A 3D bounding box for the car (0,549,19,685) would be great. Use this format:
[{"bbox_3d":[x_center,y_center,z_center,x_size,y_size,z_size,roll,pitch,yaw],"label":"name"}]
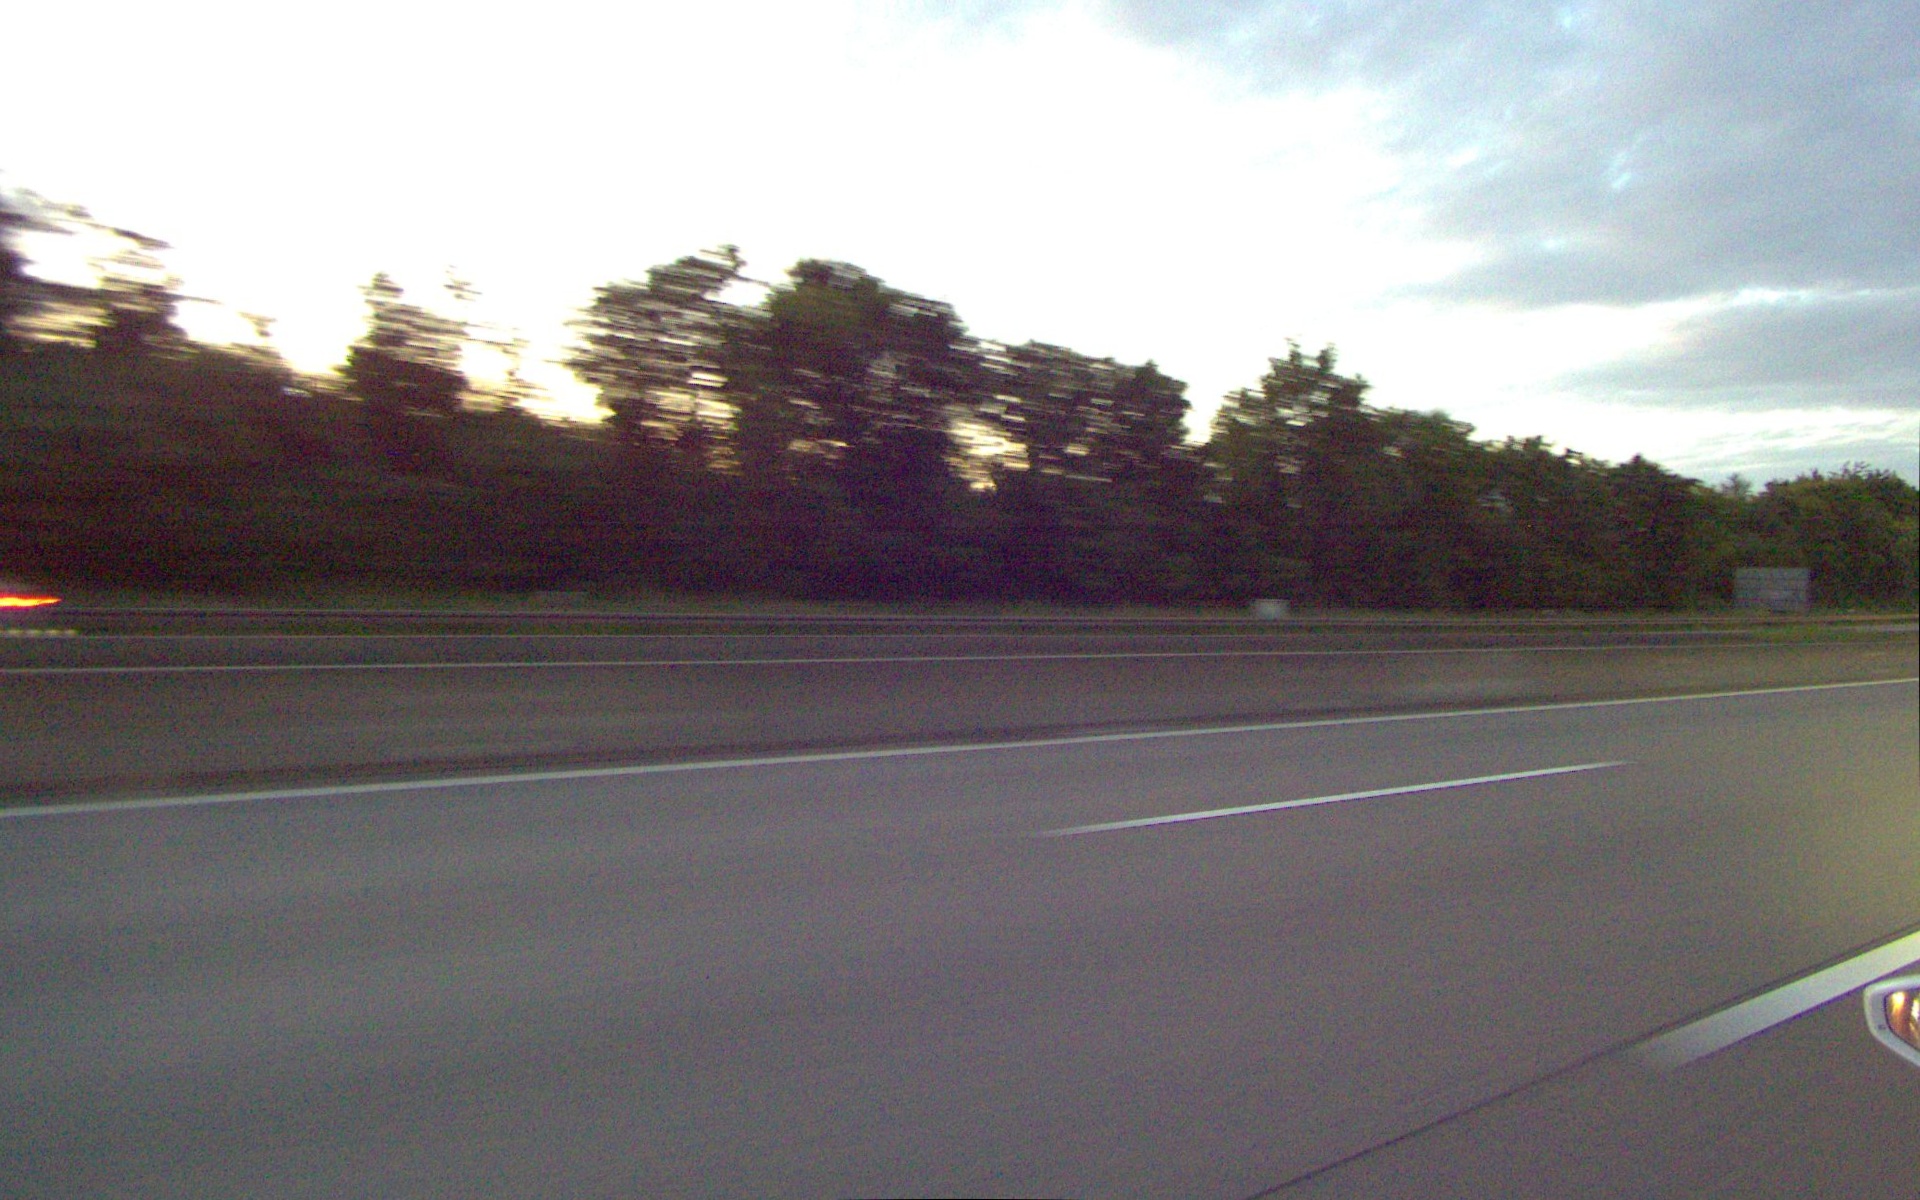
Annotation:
[{"bbox_3d":[-15.807,0.149,12.283,5.948,1.892,1.903,2,0,-31],"label":"car"}]
